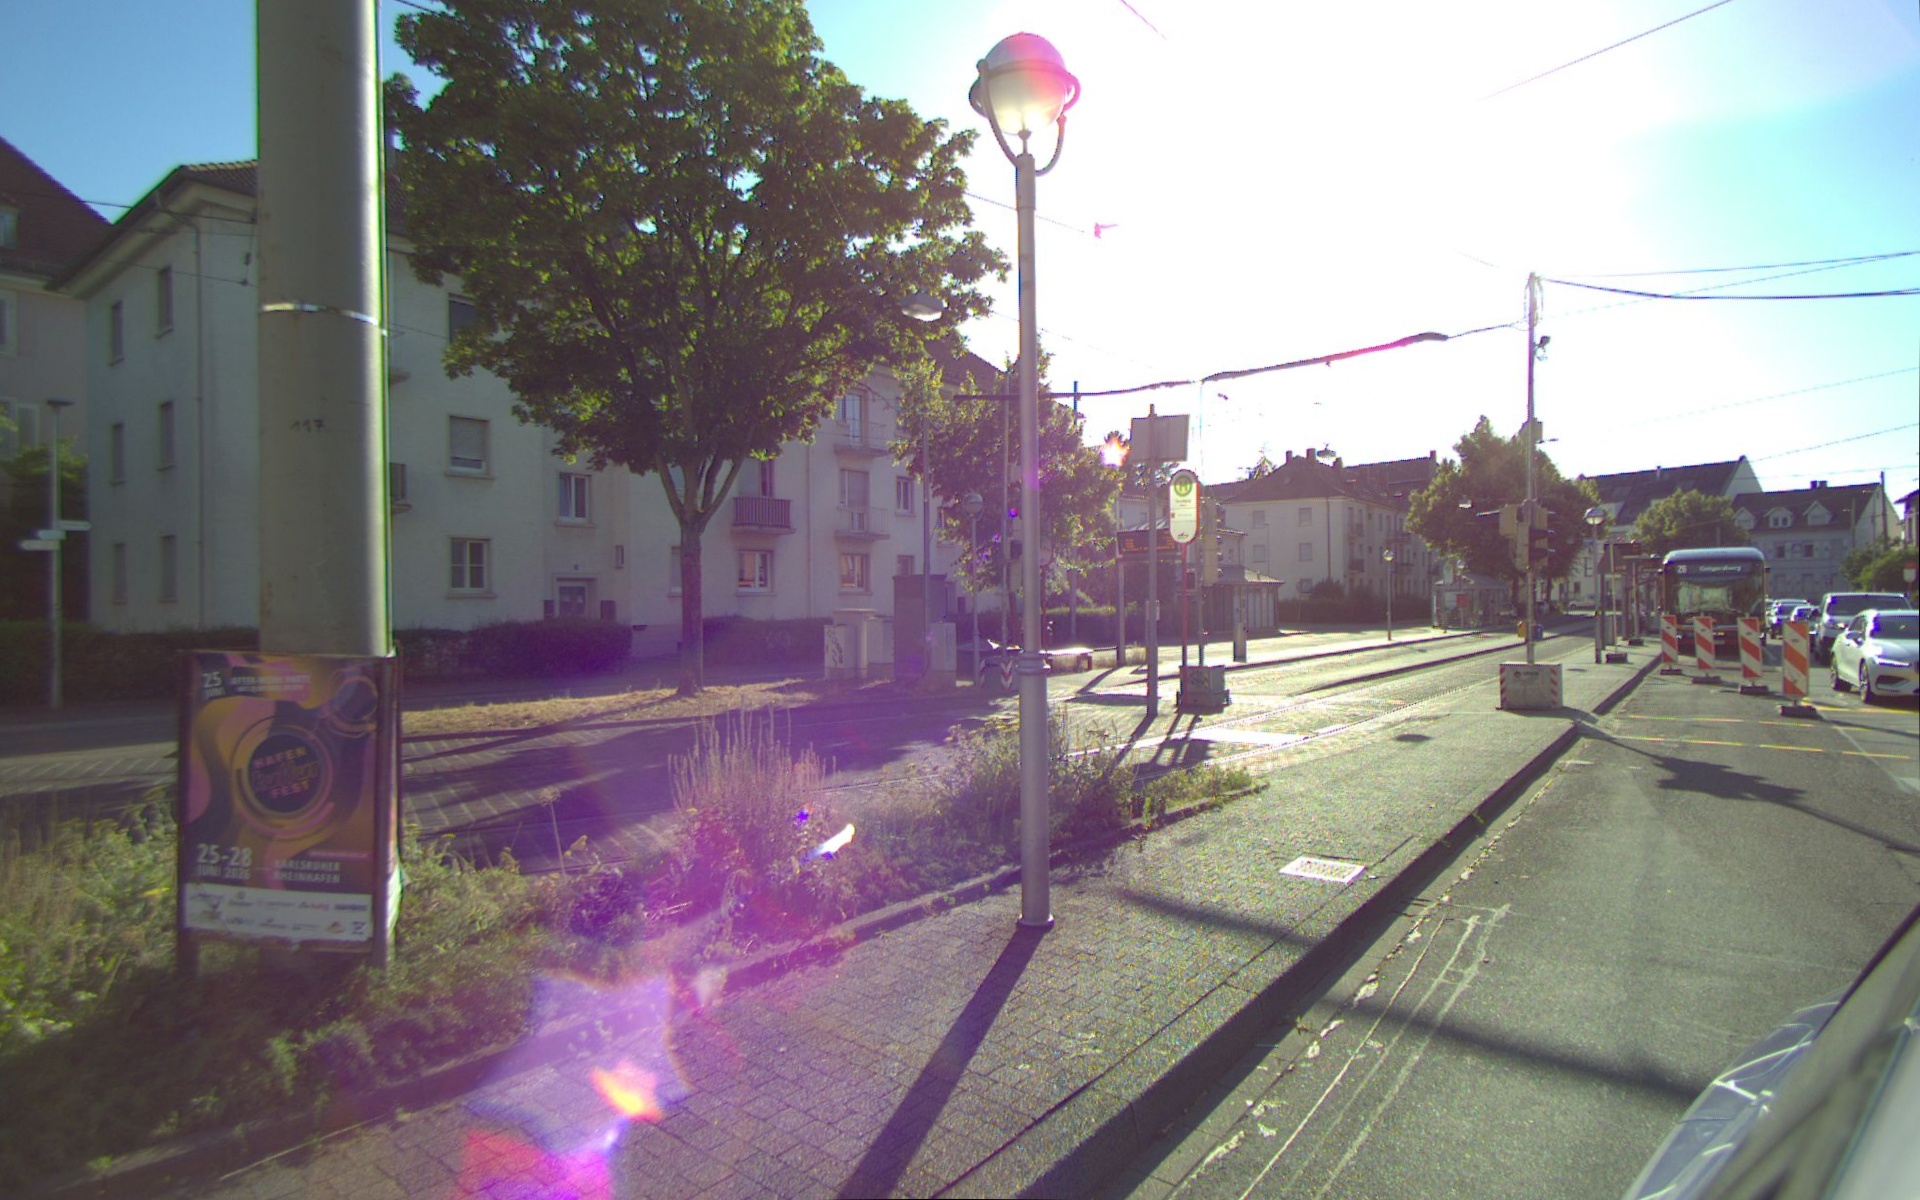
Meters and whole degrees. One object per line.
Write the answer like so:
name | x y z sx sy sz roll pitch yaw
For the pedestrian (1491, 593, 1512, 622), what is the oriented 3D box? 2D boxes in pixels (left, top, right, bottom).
pedestrian | 30.905 0.438 57.777 0.810 1.631 0.841 0 0 4

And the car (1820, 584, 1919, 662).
car | 23.768 0.547 26.297 1.960 1.850 4.963 0 0 38

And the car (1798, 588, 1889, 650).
car | 28.476 0.552 32.745 1.960 1.850 4.963 0 0 38

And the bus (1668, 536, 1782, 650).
bus | 26.579 -0.222 35.180 2.735 3.345 11.868 0 0 37

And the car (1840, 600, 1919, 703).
car | 15.371 0.748 15.935 1.810 1.472 4.165 0 0 35

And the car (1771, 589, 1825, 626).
car | 41.871 0.355 50.633 1.960 1.726 4.757 0 0 38

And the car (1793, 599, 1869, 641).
car | 32.527 0.695 37.893 1.960 1.477 4.757 0 0 38

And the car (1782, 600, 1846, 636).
car | 36.718 0.728 43.615 1.960 1.477 4.757 0 0 38

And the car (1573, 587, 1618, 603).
car | 80.179 -0.655 127.759 1.709 1.879 4.593 0 0 -35

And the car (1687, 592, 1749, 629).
car | 32.169 0.425 42.900 1.960 1.477 4.757 0 0 38
